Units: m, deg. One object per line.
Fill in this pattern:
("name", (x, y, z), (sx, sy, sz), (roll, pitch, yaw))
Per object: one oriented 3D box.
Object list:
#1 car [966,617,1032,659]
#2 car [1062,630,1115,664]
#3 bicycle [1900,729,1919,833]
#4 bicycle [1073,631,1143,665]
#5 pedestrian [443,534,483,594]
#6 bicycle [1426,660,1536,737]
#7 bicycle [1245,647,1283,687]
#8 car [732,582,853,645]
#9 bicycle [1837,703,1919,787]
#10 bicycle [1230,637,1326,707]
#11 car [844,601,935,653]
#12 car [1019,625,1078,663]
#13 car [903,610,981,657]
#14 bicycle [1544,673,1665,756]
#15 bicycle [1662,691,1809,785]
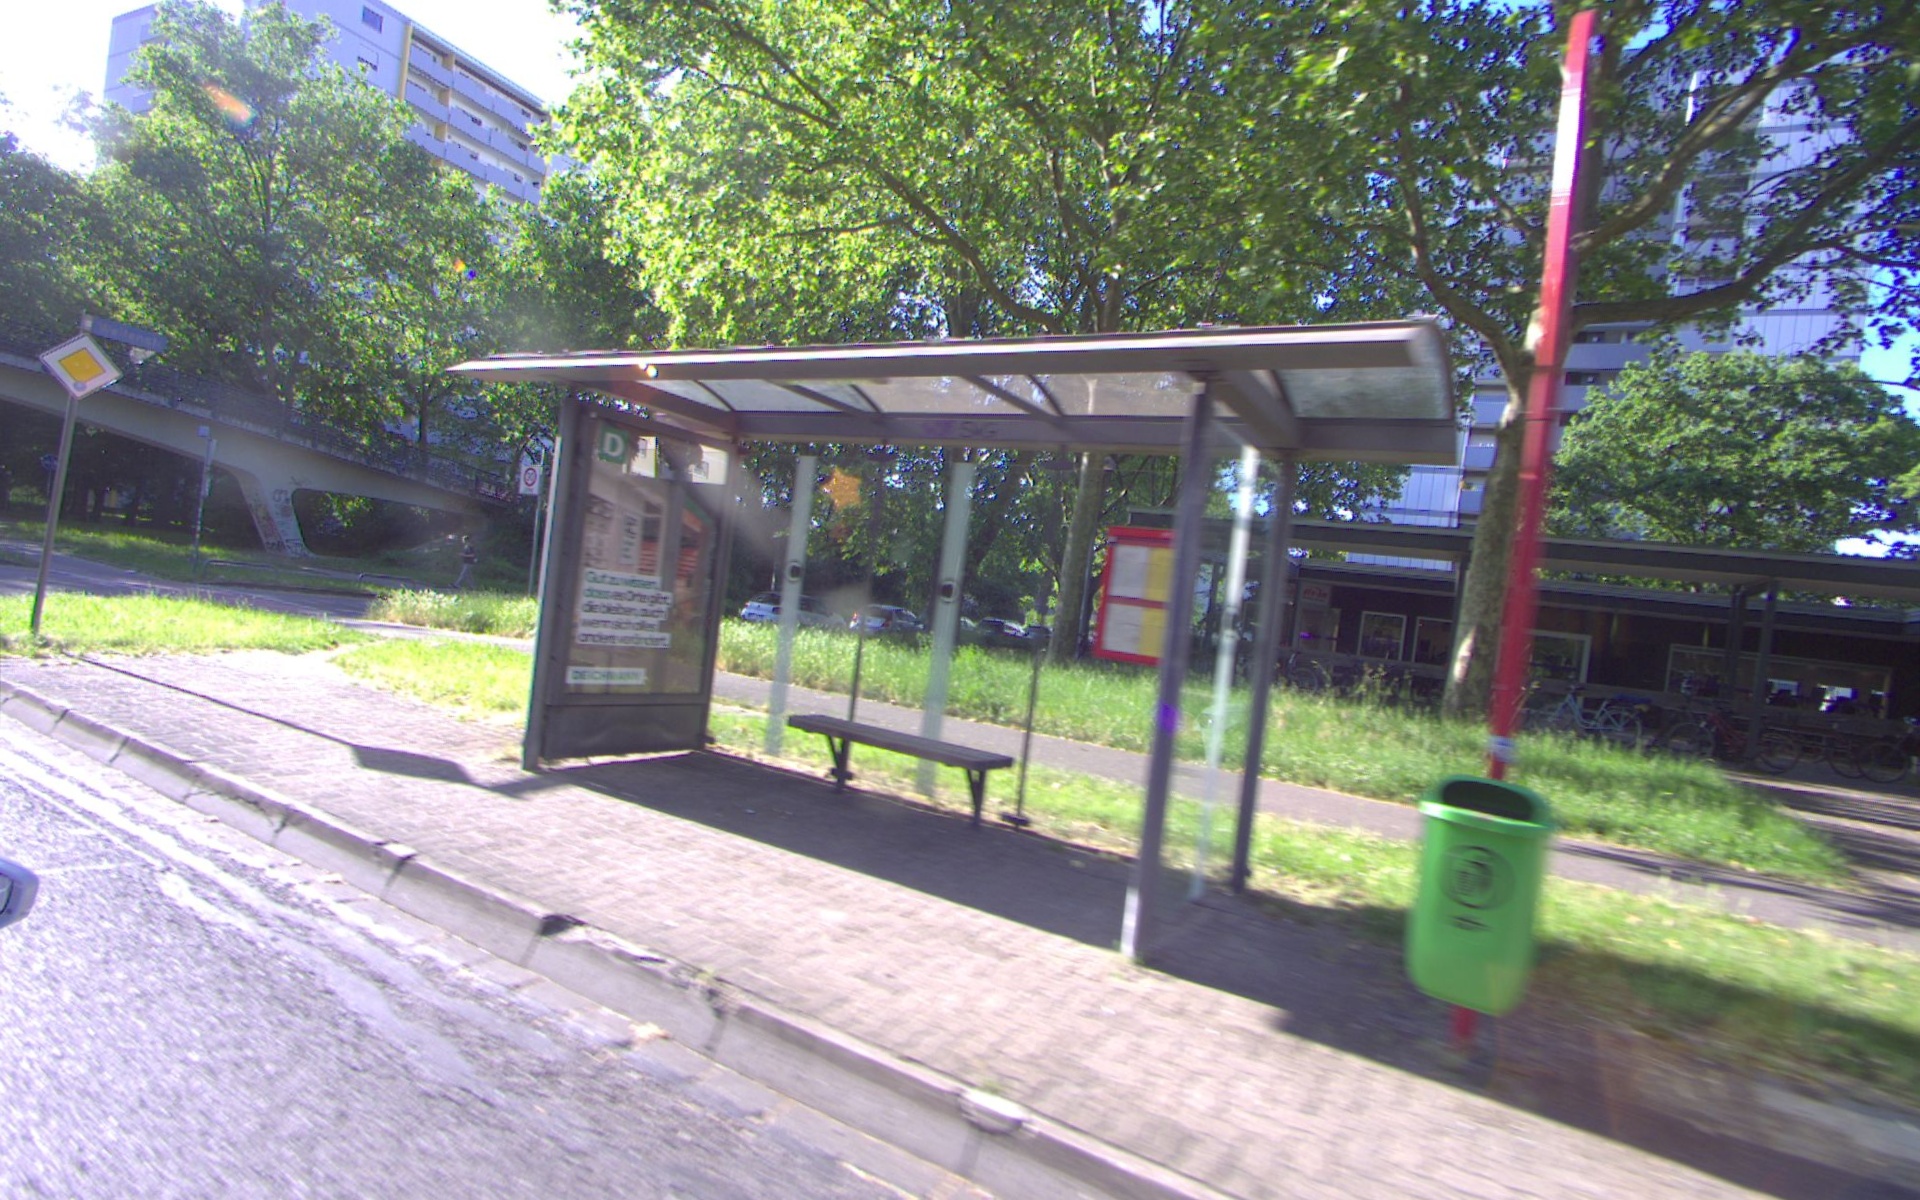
("car", (1.830, 1.774, 46.088), (1.598, 1.513, 3.589), (9, 0, 25))
("car", (7.176, 2.651, 55.829), (1.639, 1.513, 3.589), (9, 0, 26))
("bicycle", (11.213, 2.121, 10.982), (0.551, 1.172, 2.072), (7, 1, 22))
("bicycle", (4.837, 1.569, 32.908), (2.158, 0.972, 0.505), (3, 0, 26))
("pedestrian", (-16.215, -1.166, 32.808), (0.726, 1.799, 0.660), (8, 1, 24))
("bicycle", (10.311, 1.936, 19.924), (1.776, 1.268, 0.576), (6, -1, 31))
("bicycle", (8.662, 1.884, 28.597), (0.698, 0.968, 1.803), (7, 2, 25))
("car", (-5.289, 0.473, 32.169), (1.680, 1.513, 3.737), (9, 0, 30))
("bicycle", (16.032, 2.488, 16.897), (1.776, 1.268, 0.576), (6, -1, 31))
("bicycle", (6.900, 1.554, 21.843), (1.776, 1.268, 0.576), (6, -1, 31))
("car", (-2.531, 1.031, 37.225), (1.637, 1.513, 3.986), (9, 0, 21))
("car", (4.493, 2.228, 50.458), (1.556, 1.513, 3.588), (9, 0, 27))
("car", (-0.688, 1.393, 41.071), (1.594, 1.513, 3.589), (9, 0, 25))
("bicycle", (12.083, 2.135, 18.926), (1.776, 1.268, 0.576), (6, -1, 31))
("bicycle", (12.882, 2.276, 16.777), (1.776, 1.268, 0.576), (6, -1, 31))
